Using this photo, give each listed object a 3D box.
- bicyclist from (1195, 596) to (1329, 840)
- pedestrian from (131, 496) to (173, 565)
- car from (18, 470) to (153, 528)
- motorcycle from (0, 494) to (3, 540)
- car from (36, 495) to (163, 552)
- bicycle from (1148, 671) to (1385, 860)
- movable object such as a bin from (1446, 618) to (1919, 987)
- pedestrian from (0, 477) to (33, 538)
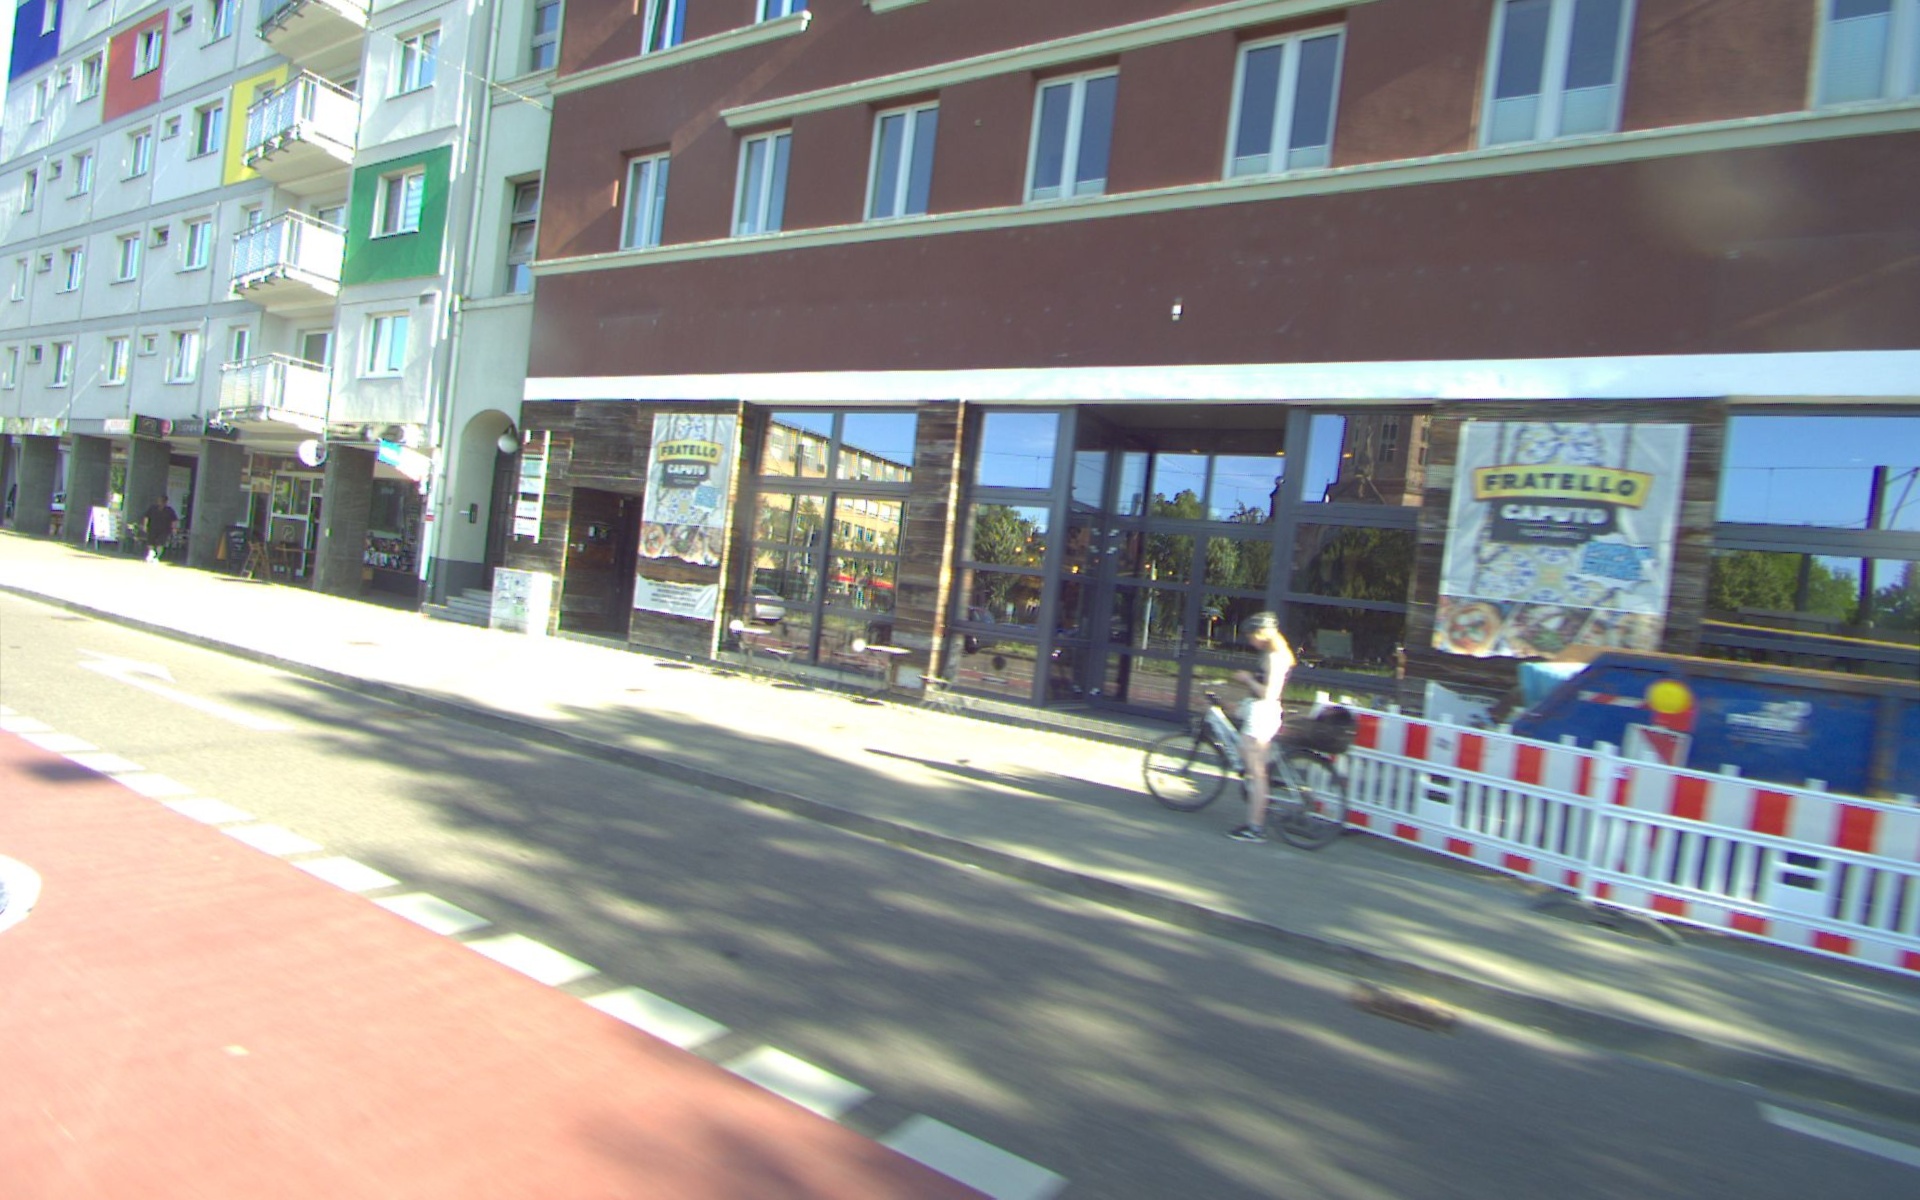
[{"bbox_3d":[2.288,0.876,7.627,0.589,1.711,0.600,7,1,42],"label":"bicyclist"},{"bbox_3d":[-19.583,-1.678,24.386,0.565,1.603,0.555,7,2,31],"label":"pedestrian"},{"bbox_3d":[-45.549,-5.234,52.492,2.222,2.036,4.738,7,-2,33],"label":"car"},{"bbox_3d":[-22.146,-1.773,21.834,0.642,1.317,1.855,7,1,34],"label":"motorcycle"},{"bbox_3d":[-43.378,-3.840,50.816,1.940,2.036,4.370,7,-2,33],"label":"car"},{"bbox_3d":[2.285,1.208,7.689,1.662,1.099,0.317,7,1,44],"label":"bicycle"},{"bbox_3d":[5.493,1.321,7.160,3.418,1.866,1.950,8,1,26],"label":"movable object such as a bin"},{"bbox_3d":[-34.299,-3.353,36.385,0.877,2.037,0.843,6,-1,41],"label":"pedestrian"}]
